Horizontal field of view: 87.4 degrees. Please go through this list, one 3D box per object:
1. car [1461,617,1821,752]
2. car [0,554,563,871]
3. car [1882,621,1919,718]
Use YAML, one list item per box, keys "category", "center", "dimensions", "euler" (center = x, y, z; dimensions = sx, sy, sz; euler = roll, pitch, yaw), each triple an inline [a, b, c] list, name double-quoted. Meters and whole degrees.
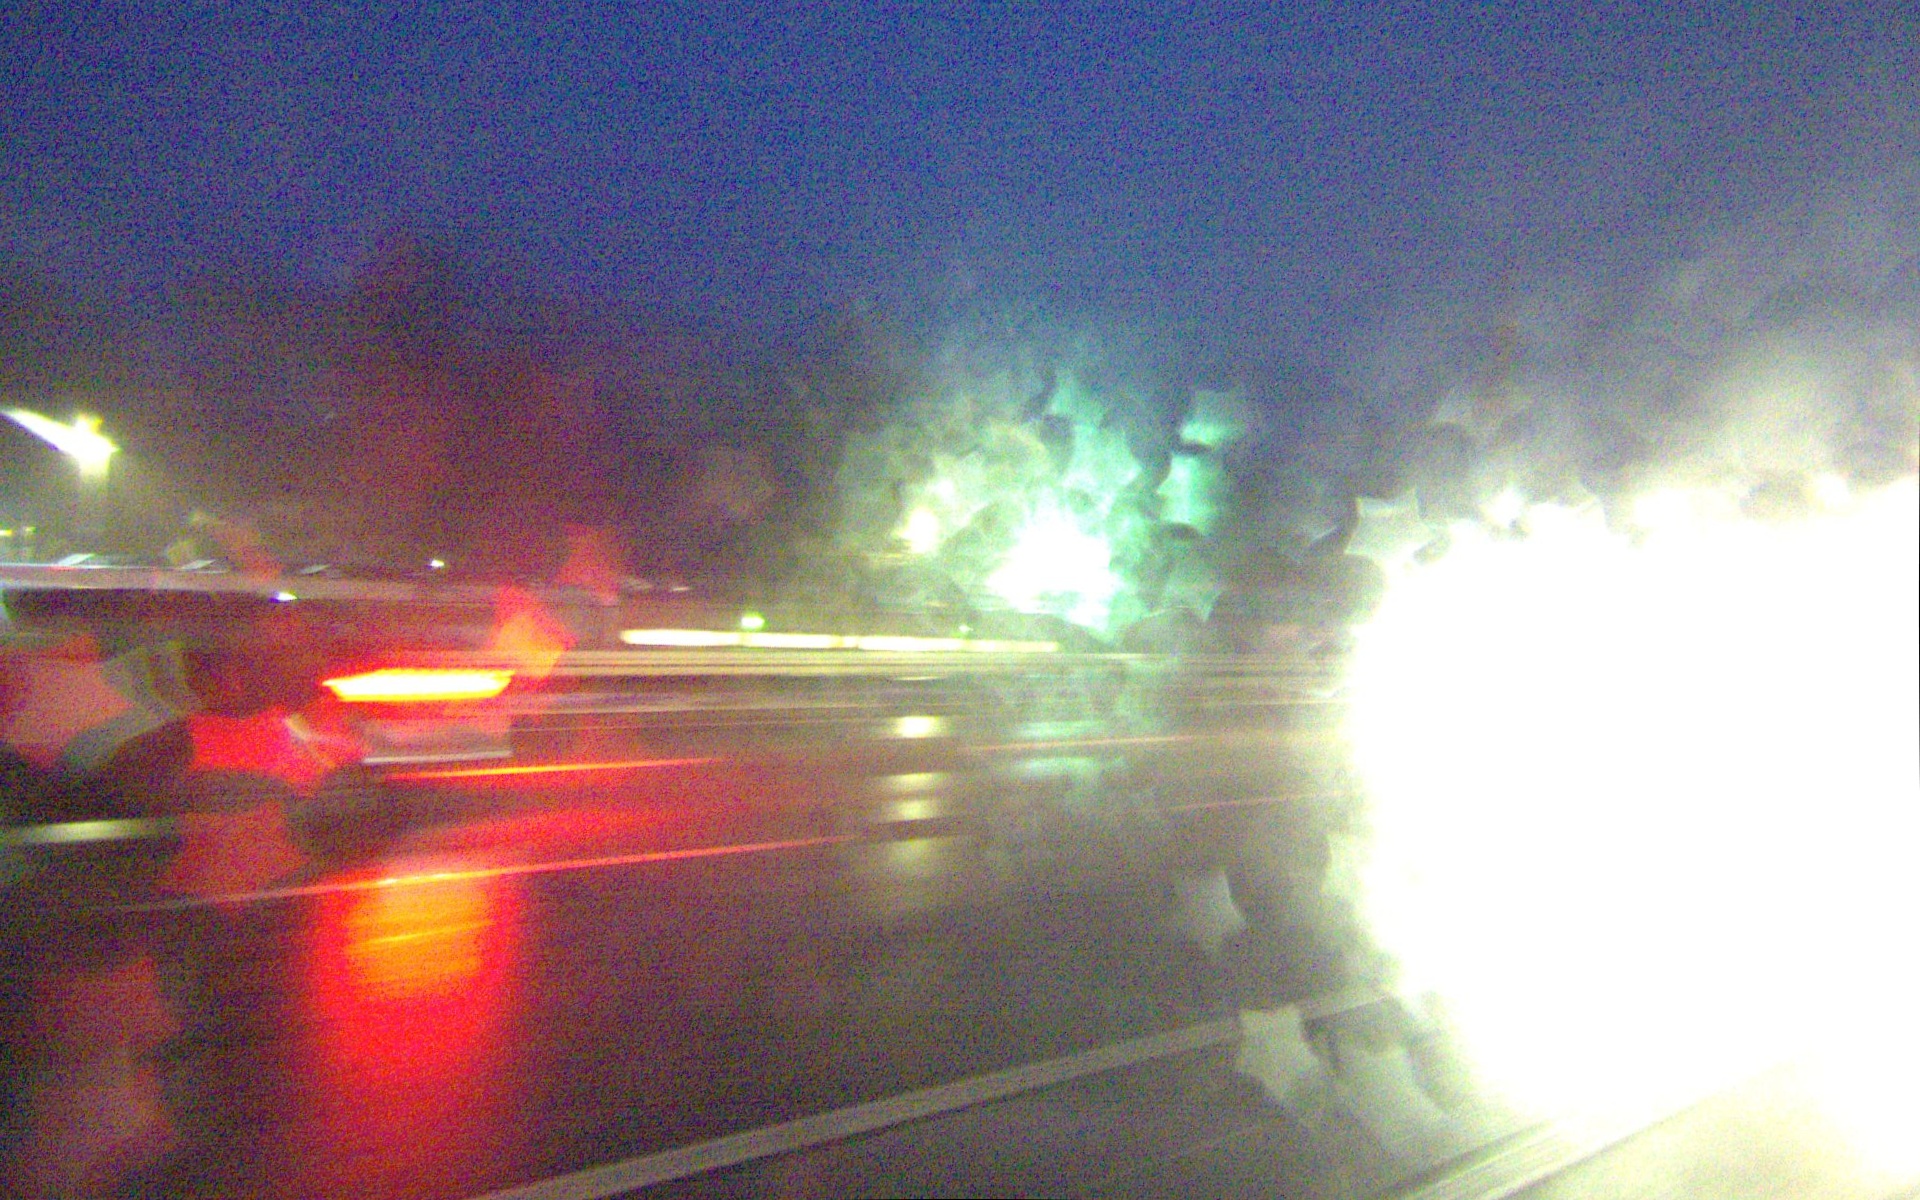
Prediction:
- category: "car"
  center: [9.507, 1.081, 13.977]
  dimensions: [4.835, 1.563, 2.076]
  euler: [2, 0, -27]
- category: "car"
  center: [-5.227, 0.554, 5.997]
  dimensions: [5.137, 1.579, 2.174]
  euler: [2, 0, -27]
- category: "car"
  center: [21.254, 1.431, 20.416]
  dimensions: [5.251, 1.890, 1.986]
  euler: [2, 0, -27]
